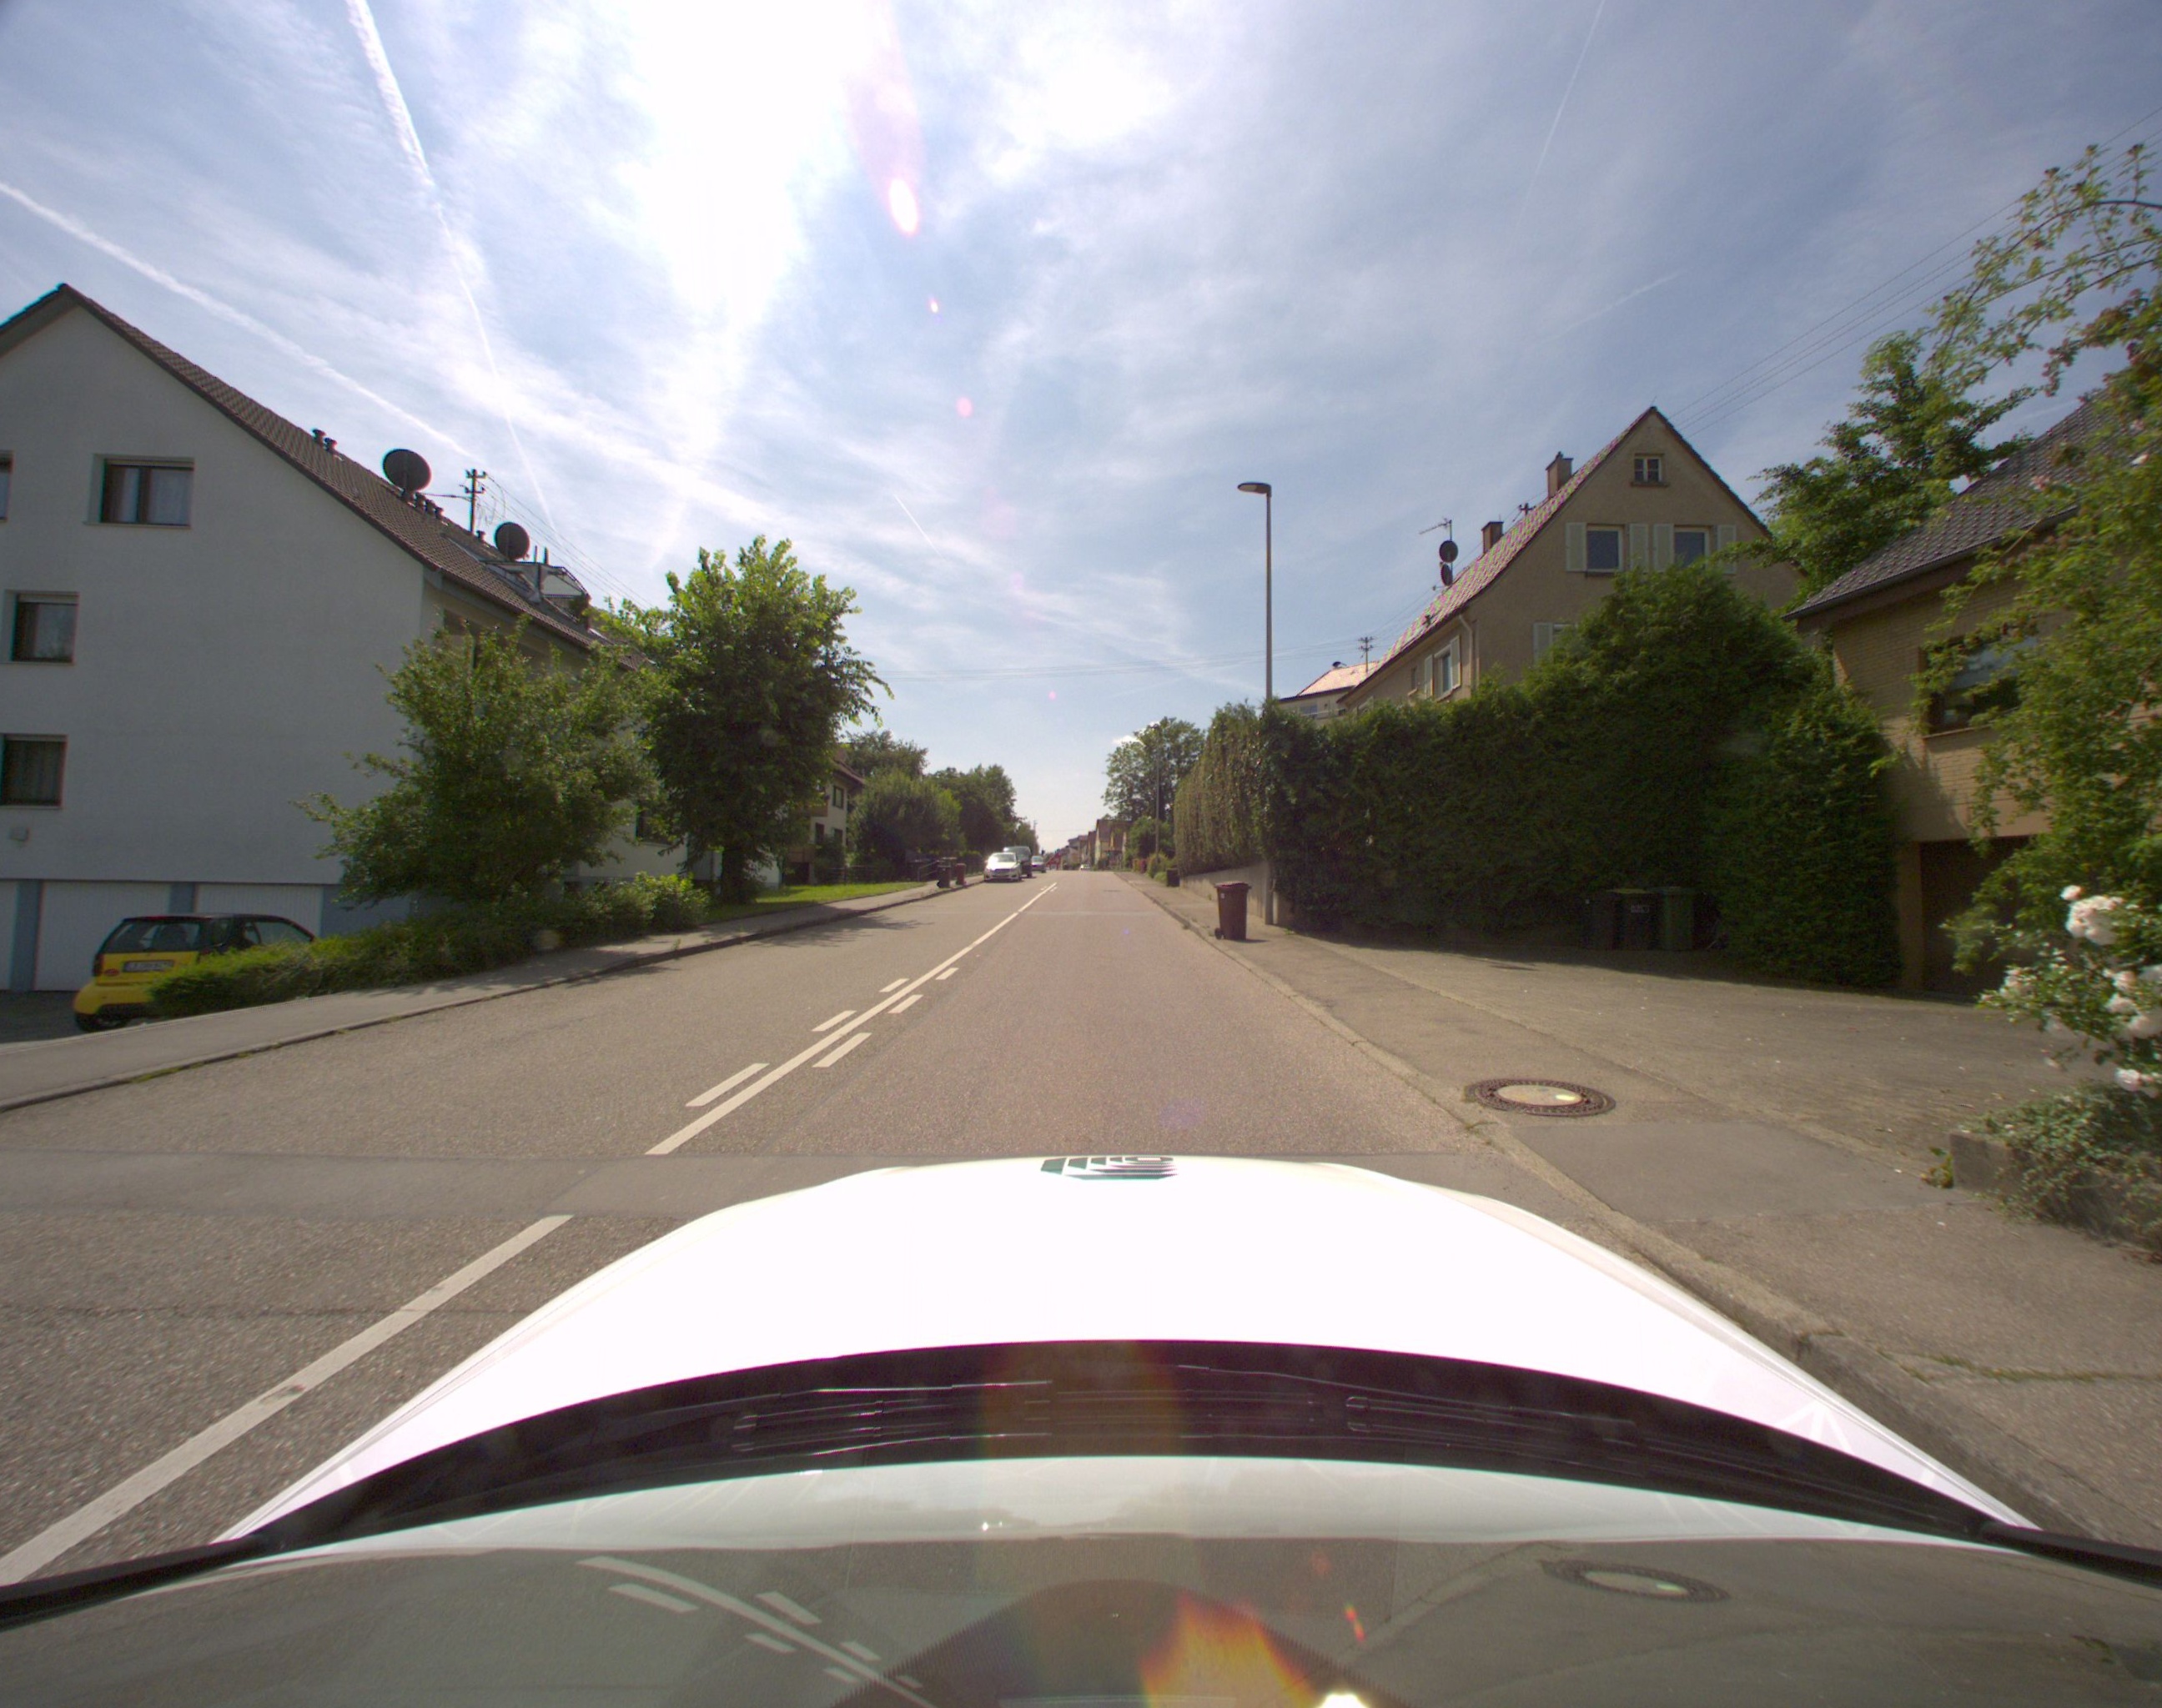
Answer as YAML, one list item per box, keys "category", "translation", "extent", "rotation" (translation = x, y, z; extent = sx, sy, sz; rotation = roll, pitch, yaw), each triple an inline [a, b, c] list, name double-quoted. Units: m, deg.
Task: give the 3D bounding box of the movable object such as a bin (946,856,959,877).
- category: "movable object such as a bin"
  translation: [-6.844, 0.661, 43.304]
  extent: [0.494, 1.105, 0.711]
  rotation: [-2, -1, 7]

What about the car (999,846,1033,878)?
- category: "car"
  translation: [-4.053, 0.481, 51.473]
  extent: [1.891, 1.920, 4.867]
  rotation: [-1, 0, -2]

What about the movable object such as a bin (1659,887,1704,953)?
- category: "movable object such as a bin"
  translation: [9.969, 1.083, 13.537]
  extent: [0.399, 1.051, 0.473]
  rotation: [1, 0, 0]

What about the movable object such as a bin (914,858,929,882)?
- category: "movable object such as a bin"
  translation: [-8.089, 0.805, 41.335]
  extent: [0.544, 1.178, 0.675]
  rotation: [0, 0, 6]

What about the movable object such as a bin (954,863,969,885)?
- category: "movable object such as a bin"
  translation: [-5.335, 0.895, 36.378]
  extent: [0.503, 0.988, 0.564]
  rotation: [0, 0, 7]

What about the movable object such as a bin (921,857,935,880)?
- category: "movable object such as a bin"
  translation: [-7.913, 0.751, 42.175]
  extent: [0.474, 1.178, 0.841]
  rotation: [0, 0, 6]

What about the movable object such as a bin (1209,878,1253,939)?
- category: "movable object such as a bin"
  translation: [2.571, 0.928, 14.042]
  extent: [0.586, 0.978, 0.786]
  rotation: [-2, 0, 0]

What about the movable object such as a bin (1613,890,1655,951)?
- category: "movable object such as a bin"
  translation: [9.277, 1.105, 13.664]
  extent: [0.385, 0.973, 0.473]
  rotation: [1, 0, 0]

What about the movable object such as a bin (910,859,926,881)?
- category: "movable object such as a bin"
  translation: [-8.145, 0.781, 40.605]
  extent: [0.599, 1.096, 0.651]
  rotation: [-1, -1, 7]

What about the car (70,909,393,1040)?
- category: "car"
  translation: [-12.096, 1.625, 11.921]
  extent: [1.469, 1.540, 3.226]
  rotation: [-1, -3, -6]

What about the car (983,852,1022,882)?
- category: "car"
  translation: [-4.201, 0.679, 44.017]
  extent: [1.806, 1.549, 4.240]
  rotation: [0, 0, -2]

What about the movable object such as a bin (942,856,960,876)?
- category: "movable object such as a bin"
  translation: [-7.139, 0.644, 44.689]
  extent: [0.897, 1.070, 0.695]
  rotation: [0, 0, 0]

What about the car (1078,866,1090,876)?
- category: "car"
  translation: [0.513, 2.755, 133.721]
  extent: [1.988, 1.603, 3.998]
  rotation: [0, 0, -1]

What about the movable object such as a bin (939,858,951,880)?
- category: "movable object such as a bin"
  translation: [-6.989, 0.763, 41.885]
  extent: [0.515, 1.104, 0.529]
  rotation: [0, -1, -1]

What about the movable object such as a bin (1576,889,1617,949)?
- category: "movable object such as a bin"
  translation: [8.728, 1.091, 13.790]
  extent: [0.385, 0.973, 0.473]
  rotation: [1, 0, 0]

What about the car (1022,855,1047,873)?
- category: "car"
  translation: [-3.835, 0.847, 68.268]
  extent: [1.774, 1.394, 4.409]
  rotation: [-1, -1, 1]

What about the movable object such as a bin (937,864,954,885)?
- category: "movable object such as a bin"
  translation: [-5.801, 0.877, 34.875]
  extent: [0.560, 0.917, 0.644]
  rotation: [0, 0, 7]

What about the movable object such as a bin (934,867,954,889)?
- category: "movable object such as a bin"
  translation: [-5.664, 0.981, 33.701]
  extent: [0.616, 0.917, 0.687]
  rotation: [0, 0, 7]
